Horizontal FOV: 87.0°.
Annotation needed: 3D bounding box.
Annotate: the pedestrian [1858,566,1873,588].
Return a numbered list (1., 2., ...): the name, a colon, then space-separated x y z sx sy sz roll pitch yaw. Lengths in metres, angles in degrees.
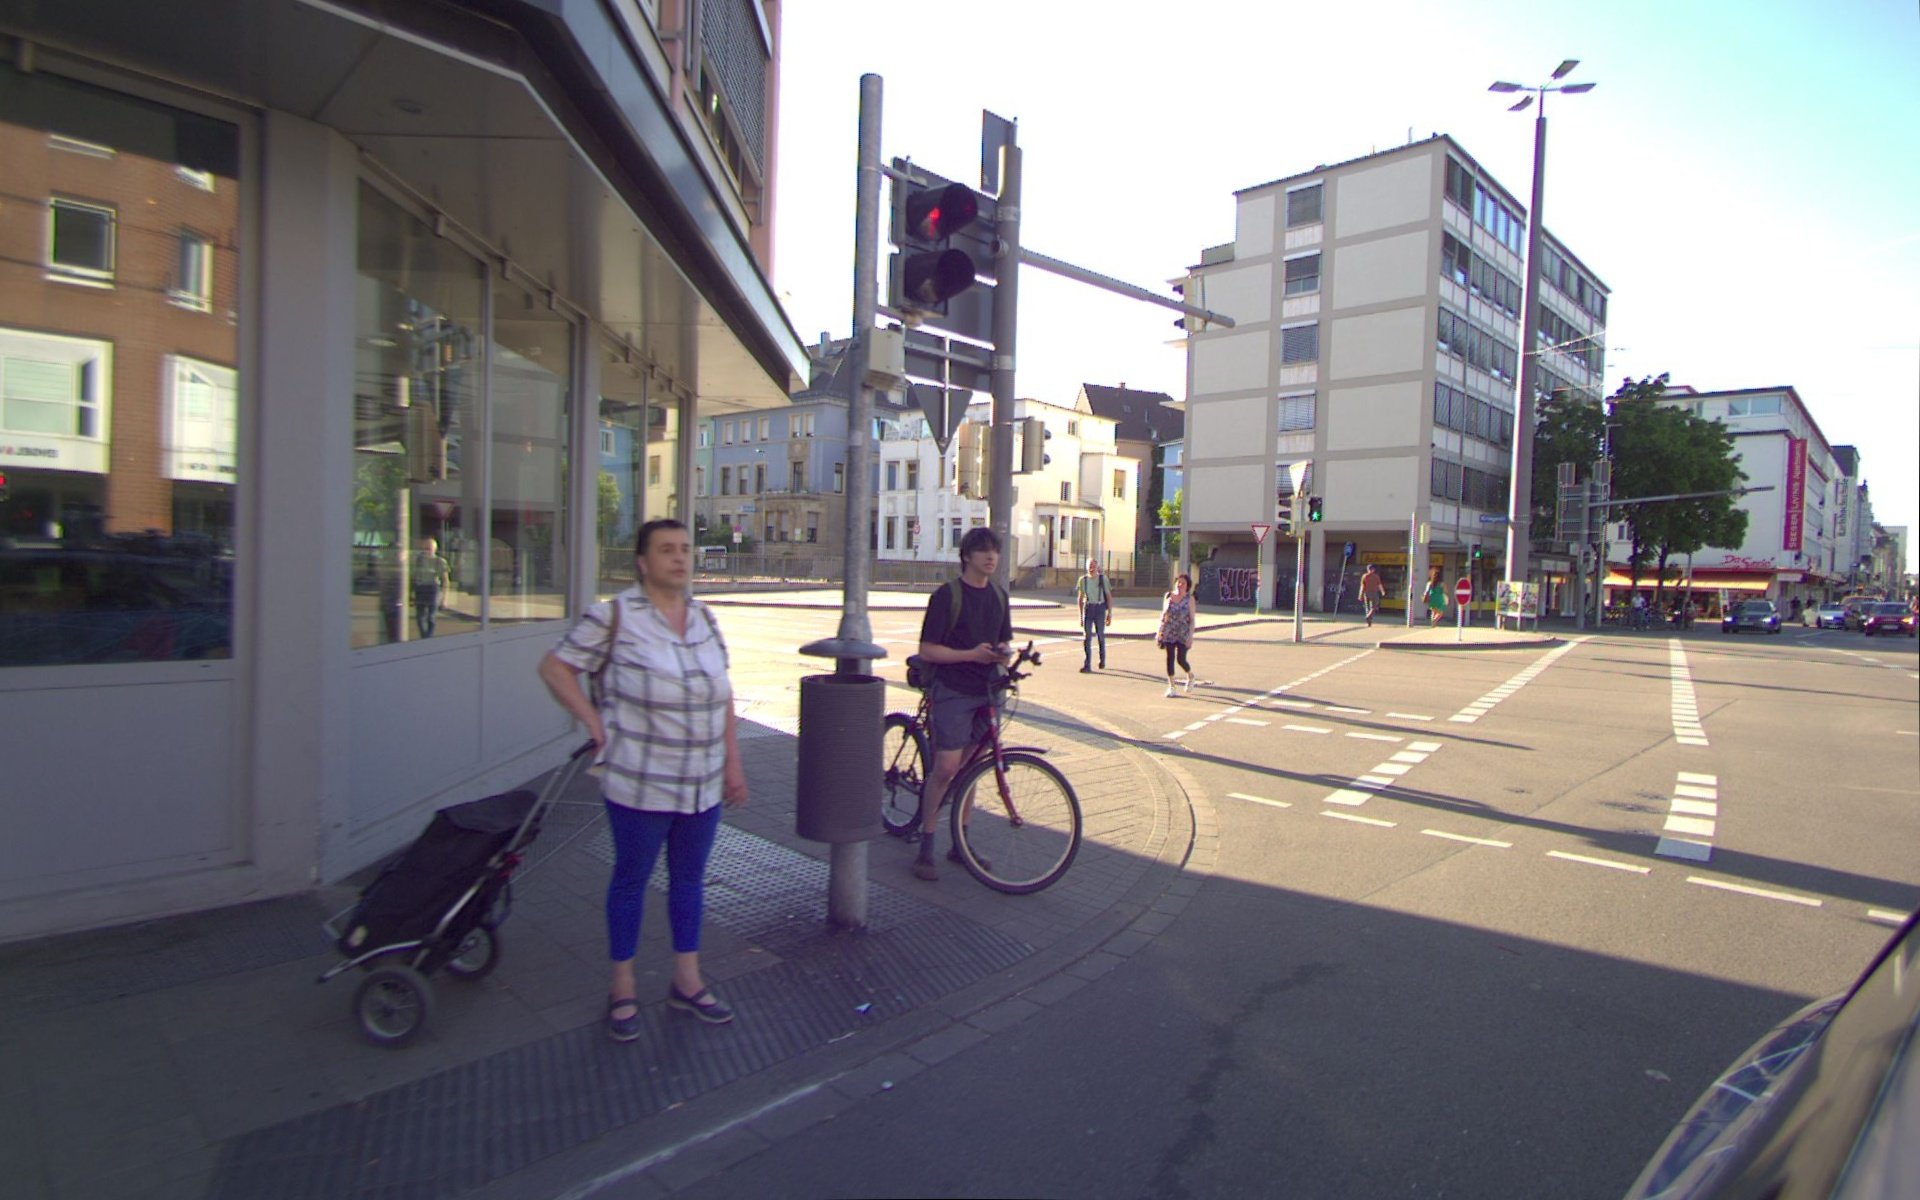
1. pedestrian: 61.571 -1.544 68.823 0.593 1.460 0.606 3 2 33

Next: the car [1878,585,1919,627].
1. car: 41.012 0.262 43.626 1.967 1.695 4.798 2 1 44

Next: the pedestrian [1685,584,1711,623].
1. pedestrian: 33.560 0.156 45.998 0.857 1.731 1.037 2 1 40

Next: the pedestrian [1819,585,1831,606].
1. pedestrian: 63.049 -0.341 73.770 0.595 1.460 0.604 3 2 41

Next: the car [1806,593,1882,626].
1. car: 48.271 0.472 55.363 1.954 1.695 4.828 1 1 27

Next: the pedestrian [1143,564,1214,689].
1. pedestrian: 2.846 0.327 13.174 0.686 1.554 0.606 3 2 33

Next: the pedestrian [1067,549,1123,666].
1. pedestrian: 2.136 0.100 15.998 0.647 1.790 0.807 3 2 22

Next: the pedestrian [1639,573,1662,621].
1. pedestrian: 29.209 -0.130 42.823 0.741 2.039 1.059 0 0 31

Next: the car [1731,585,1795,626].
1. car: 35.024 0.228 44.096 1.965 1.695 4.802 2 1 41

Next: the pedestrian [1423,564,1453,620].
1. pedestrian: 12.819 -0.226 27.156 0.593 1.460 0.606 3 2 33

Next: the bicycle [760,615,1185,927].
1. bicycle: -0.028 0.716 5.133 2.168 1.137 0.757 3 2 41

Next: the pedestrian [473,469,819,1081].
1. pedestrian: -1.003 0.467 3.273 0.634 1.681 0.759 7 5 35

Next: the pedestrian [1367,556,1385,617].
1. pedestrian: 12.051 -0.383 29.318 0.403 1.740 0.390 0 0 33

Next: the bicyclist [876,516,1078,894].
1. bicyclist: 0.092 0.457 5.035 0.634 1.698 0.758 3 2 41
